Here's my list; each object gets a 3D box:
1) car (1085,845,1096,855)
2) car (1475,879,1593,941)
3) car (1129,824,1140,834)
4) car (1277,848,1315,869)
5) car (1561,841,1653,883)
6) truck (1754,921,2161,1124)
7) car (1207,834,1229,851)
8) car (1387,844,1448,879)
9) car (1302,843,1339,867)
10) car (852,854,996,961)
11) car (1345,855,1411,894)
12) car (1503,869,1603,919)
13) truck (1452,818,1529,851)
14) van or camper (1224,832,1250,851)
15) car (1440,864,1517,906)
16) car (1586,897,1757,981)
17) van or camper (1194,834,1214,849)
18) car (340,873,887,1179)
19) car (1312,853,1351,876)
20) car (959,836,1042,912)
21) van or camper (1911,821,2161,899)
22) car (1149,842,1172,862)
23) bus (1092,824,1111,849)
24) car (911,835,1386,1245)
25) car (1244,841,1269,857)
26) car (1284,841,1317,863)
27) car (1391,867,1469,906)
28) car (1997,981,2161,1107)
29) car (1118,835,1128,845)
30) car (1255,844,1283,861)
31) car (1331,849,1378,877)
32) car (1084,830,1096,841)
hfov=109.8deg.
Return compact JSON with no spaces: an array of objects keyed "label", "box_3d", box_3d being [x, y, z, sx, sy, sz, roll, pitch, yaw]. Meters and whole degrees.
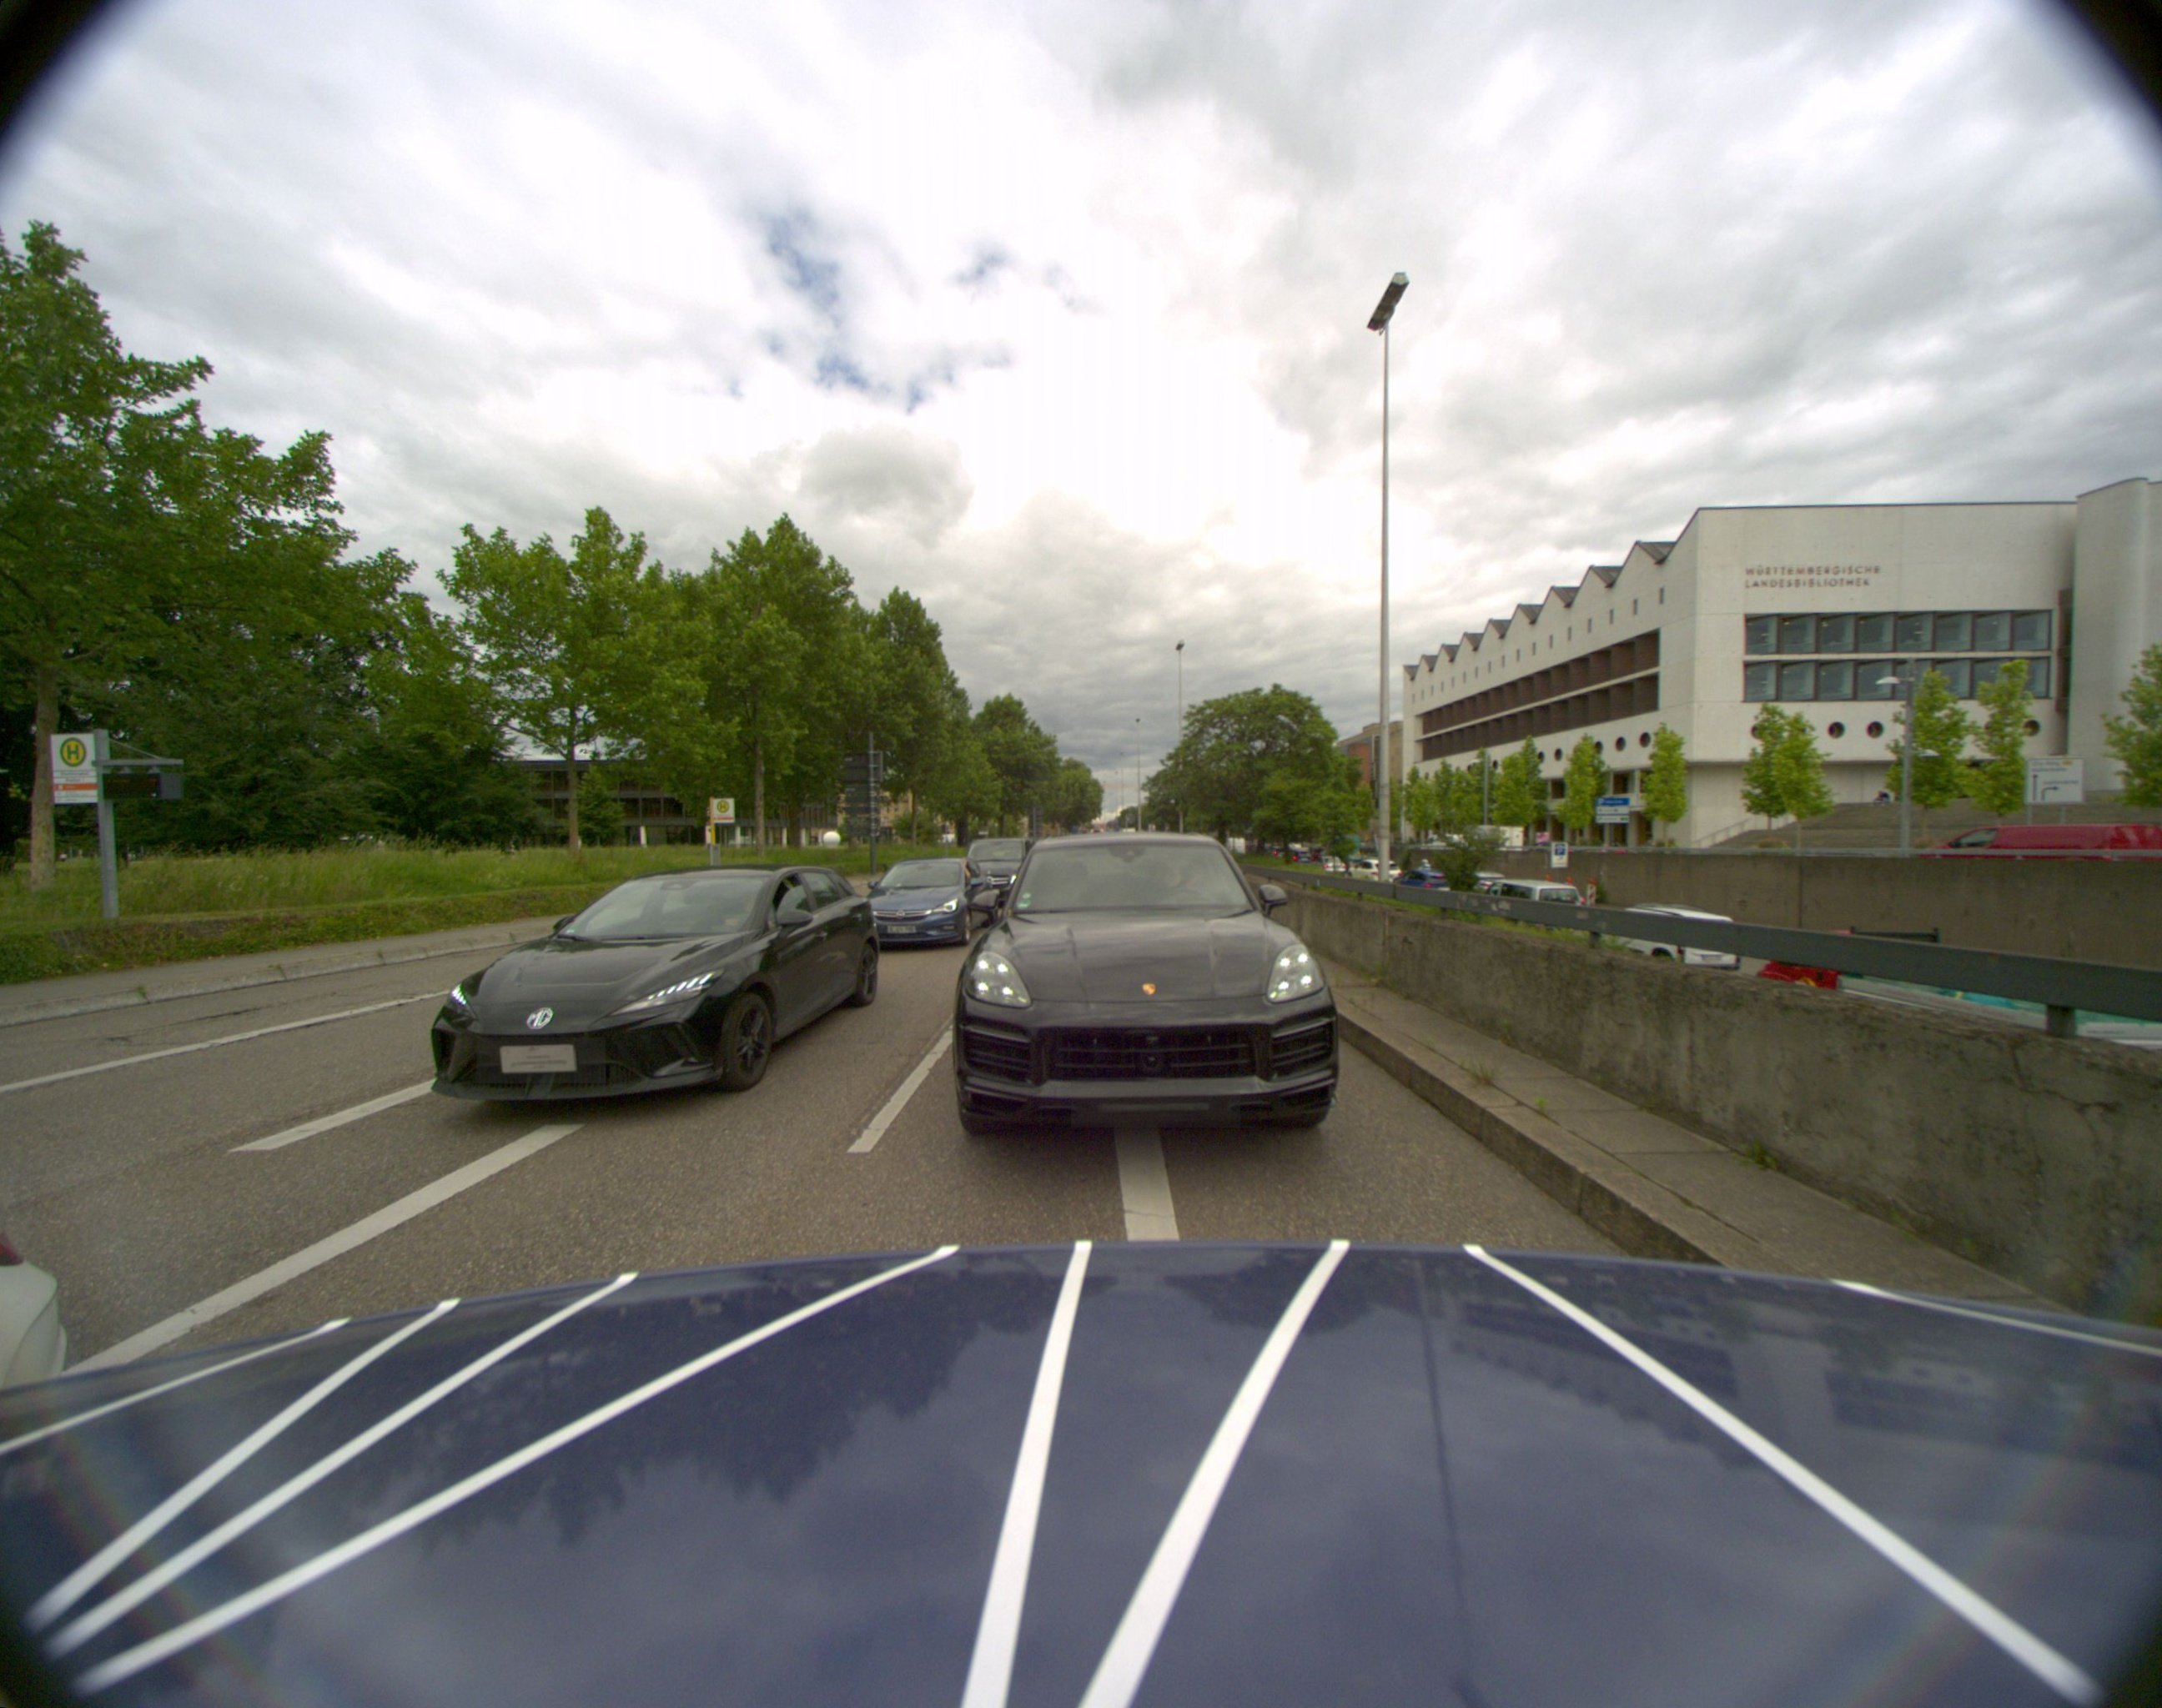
[{"label":"car","box_3d":[1.419,-0.578,109.357,1.565,1.409,3.619,-2,0,1]},{"label":"car","box_3d":[17.536,2.103,29.706,1.998,2.002,4.332,2,0,1]},{"label":"car","box_3d":[11.401,-5.286,162.126,1.997,2.002,4.002,-2,1,9]},{"label":"car","box_3d":[17.294,0.354,61.322,1.998,1.650,4.000,-1,0,1]},{"label":"car","box_3d":[27.539,0.375,39.935,1.999,2.002,3.999,-2,1,-1]},{"label":"truck","box_3d":[17.280,2.991,15.243,2.324,2.675,5.979,-2,0,1]},{"label":"car","box_3d":[17.176,-1.434,95.331,1.998,2.002,4.000,-5,0,1]},{"label":"car","box_3d":[20.982,0.439,47.542,1.998,2.002,4.000,2,0,1]},{"label":"car","box_3d":[21.232,0.105,67.409,1.998,2.002,4.000,2,0,1]},{"label":"car","box_3d":[-2.600,0.815,13.519,1.573,1.528,4.001,-2,1,2]},{"label":"car","box_3d":[17.672,1.188,45.498,1.998,2.119,4.852,2,0,1]},{"label":"car","box_3d":[21.231,1.736,34.366,1.998,2.002,4.000,2,0,1]},{"label":"truck","box_3d":[28.980,-1.333,53.974,2.002,2.145,5.616,-2,0,-5]},{"label":"van or camper","box_3d":[17.212,-1.358,83.885,2.036,2.002,4.000,-2,0,1]},{"label":"car","box_3d":[21.024,1.602,40.373,1.998,2.002,4.000,2,0,1]},{"label":"car","box_3d":[17.469,2.428,22.770,1.998,2.002,4.000,2,0,1]},{"label":"van or camper","box_3d":[17.057,-1.717,105.615,2.036,2.002,4.000,-2,0,1]},{"label":"car","box_3d":[-3.074,0.991,6.199,1.829,1.515,4.119,-2,0,1]},{"label":"car","box_3d":[17.590,0.710,53.573,1.675,1.477,3.361,0,1,1]},{"label":"car","box_3d":[-2.126,0.470,21.194,1.723,1.851,4.430,-2,1,1]},{"label":"van or camper","box_3d":[27.844,0.168,22.255,1.999,2.002,4.556,-1,0,-2]},{"label":"car","box_3d":[8.341,-0.244,79.880,1.998,2.002,4.000,-1,0,1]},{"label":"bus","box_3d":[3.612,-3.070,135.750,3.043,4.328,8.748,-1,1,0]},{"label":"car","box_3d":[0.314,0.777,5.514,1.937,1.668,4.679,-2,0,1]},{"label":"car","box_3d":[17.095,-0.463,74.017,1.675,1.477,3.361,-2,0,1]},{"label":"car","box_3d":[21.371,-0.161,74.164,1.998,2.002,4.000,2,0,1]},{"label":"car","box_3d":[17.607,1.604,38.577,1.998,1.733,4.281,2,0,1]},{"label":"car","box_3d":[19.991,3.546,13.793,1.999,1.805,3.864,0,1,-1]},{"label":"car","box_3d":[8.746,-2.881,159.231,1.998,2.002,4.000,-1,0,1]},{"label":"car","box_3d":[16.666,-0.126,67.423,1.675,1.477,3.361,-2,0,1]},{"label":"car","box_3d":[21.040,0.682,58.653,1.998,2.002,4.655,-2,0,1]},{"label":"car","box_3d":[1.852,-3.760,153.703,1.997,2.002,4.002,-2,0,9]}]
